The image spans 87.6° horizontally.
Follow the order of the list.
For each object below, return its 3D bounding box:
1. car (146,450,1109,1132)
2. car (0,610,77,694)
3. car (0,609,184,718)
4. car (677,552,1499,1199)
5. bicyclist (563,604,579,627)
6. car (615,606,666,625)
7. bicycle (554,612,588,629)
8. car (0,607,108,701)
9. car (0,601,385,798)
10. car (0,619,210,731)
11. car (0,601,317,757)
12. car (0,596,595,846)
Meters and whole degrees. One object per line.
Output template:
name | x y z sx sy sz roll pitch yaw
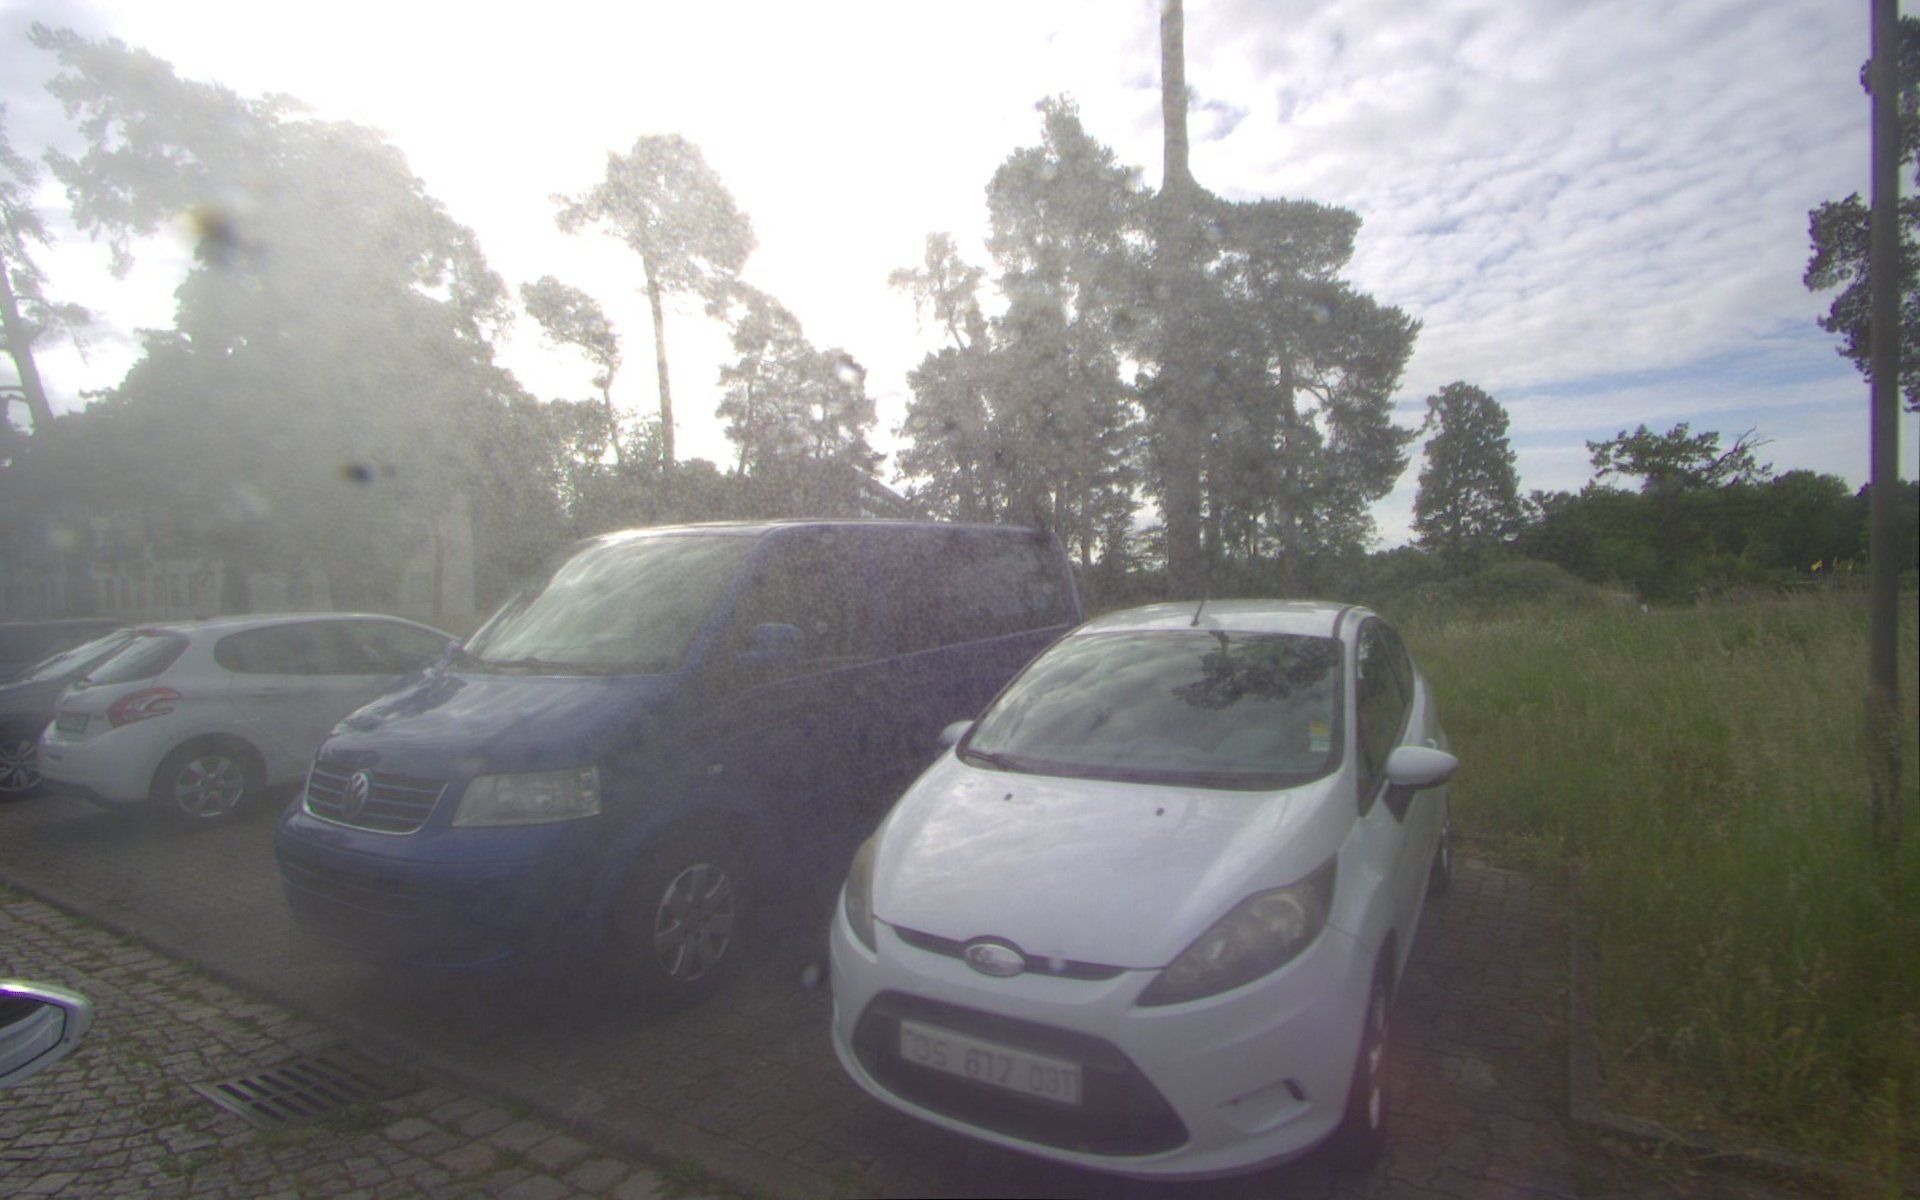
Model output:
car | -1.054 0.486 5.449 1.974 1.972 4.797 -1 2 31
car | -18.393 0.997 17.045 1.843 1.436 4.672 -1 2 30
car | -14.207 0.940 14.526 1.844 1.436 4.251 -1 2 32
car | 1.009 0.653 3.986 1.814 1.493 3.852 -1 4 31
bicyclist | -24.549 0.993 63.228 0.599 1.429 0.744 0 1 44
car | -27.341 1.350 85.792 1.628 1.439 3.938 -1 -3 35
bicycle | -24.546 1.302 63.241 0.599 1.038 1.943 0 0 44
car | -16.284 0.922 15.424 1.840 1.436 4.421 -1 2 23
car | -7.982 0.831 9.644 1.731 1.492 3.856 -1 2 28
car | -12.297 0.968 12.870 1.732 1.253 3.853 -1 2 31
car | -10.040 0.834 11.687 1.732 1.492 3.853 -1 2 31
car | -5.318 0.791 8.586 1.732 1.492 3.853 -1 2 31
